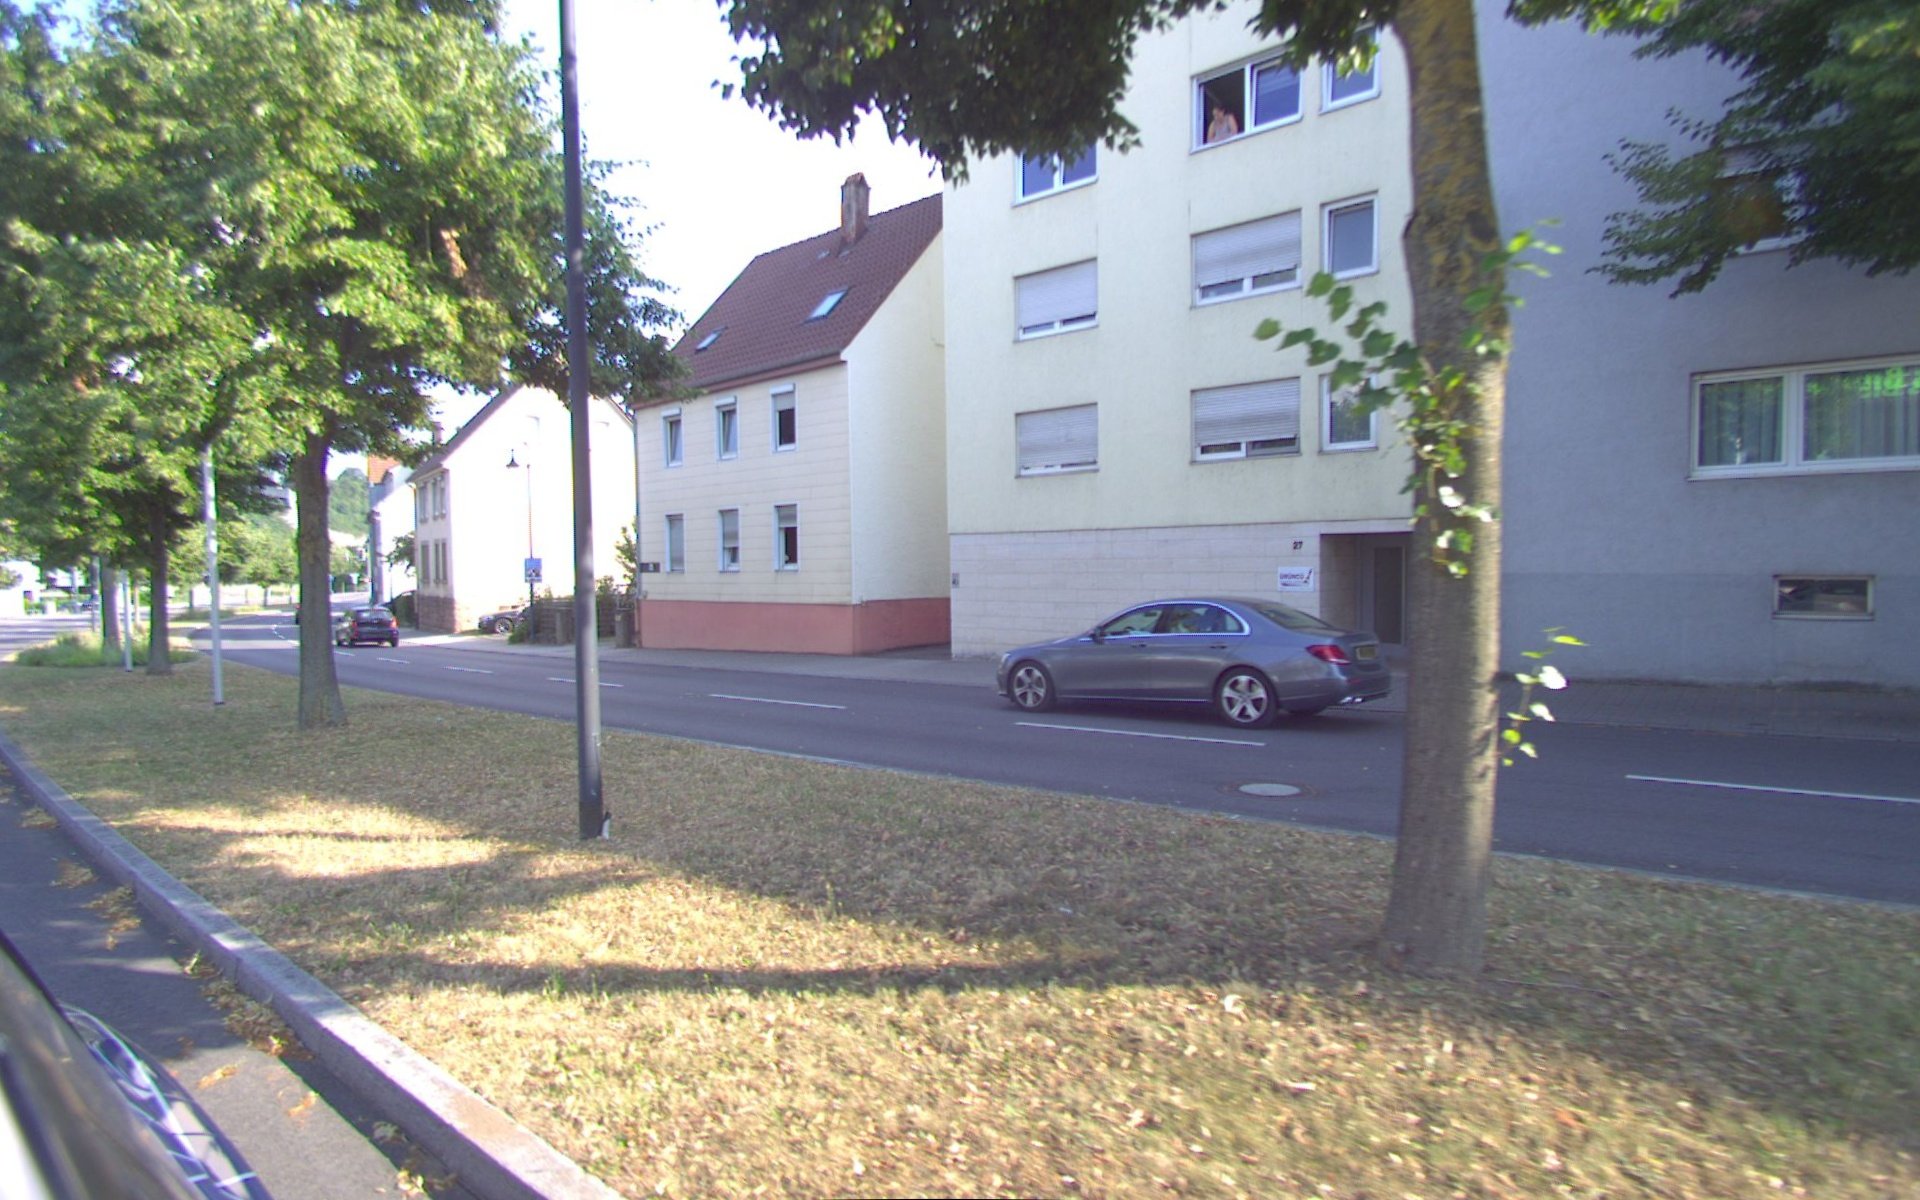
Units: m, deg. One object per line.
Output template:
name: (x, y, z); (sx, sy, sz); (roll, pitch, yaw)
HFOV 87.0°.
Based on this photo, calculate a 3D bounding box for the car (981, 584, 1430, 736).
car: (2.774, 0.603, 12.236); (4.991, 1.497, 1.834); (-1, 0, 39)

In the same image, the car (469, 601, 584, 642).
car: (-18.177, 0.857, 42.449); (4.285, 1.497, 2.018); (-2, 1, -27)

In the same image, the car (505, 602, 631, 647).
car: (-14.907, 0.888, 38.499); (4.285, 1.497, 1.952); (-2, 1, -26)

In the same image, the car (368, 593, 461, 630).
car: (-32.932, 0.663, 61.150); (4.759, 1.891, 2.006); (-4, 2, -32)

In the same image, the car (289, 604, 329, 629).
car: (-41.721, 1.033, 64.829); (1.914, 1.497, 4.335); (-1, 0, -35)

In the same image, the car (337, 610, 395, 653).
car: (-22.239, 1.141, 37.821); (1.584, 1.497, 3.794); (-1, 0, -34)
